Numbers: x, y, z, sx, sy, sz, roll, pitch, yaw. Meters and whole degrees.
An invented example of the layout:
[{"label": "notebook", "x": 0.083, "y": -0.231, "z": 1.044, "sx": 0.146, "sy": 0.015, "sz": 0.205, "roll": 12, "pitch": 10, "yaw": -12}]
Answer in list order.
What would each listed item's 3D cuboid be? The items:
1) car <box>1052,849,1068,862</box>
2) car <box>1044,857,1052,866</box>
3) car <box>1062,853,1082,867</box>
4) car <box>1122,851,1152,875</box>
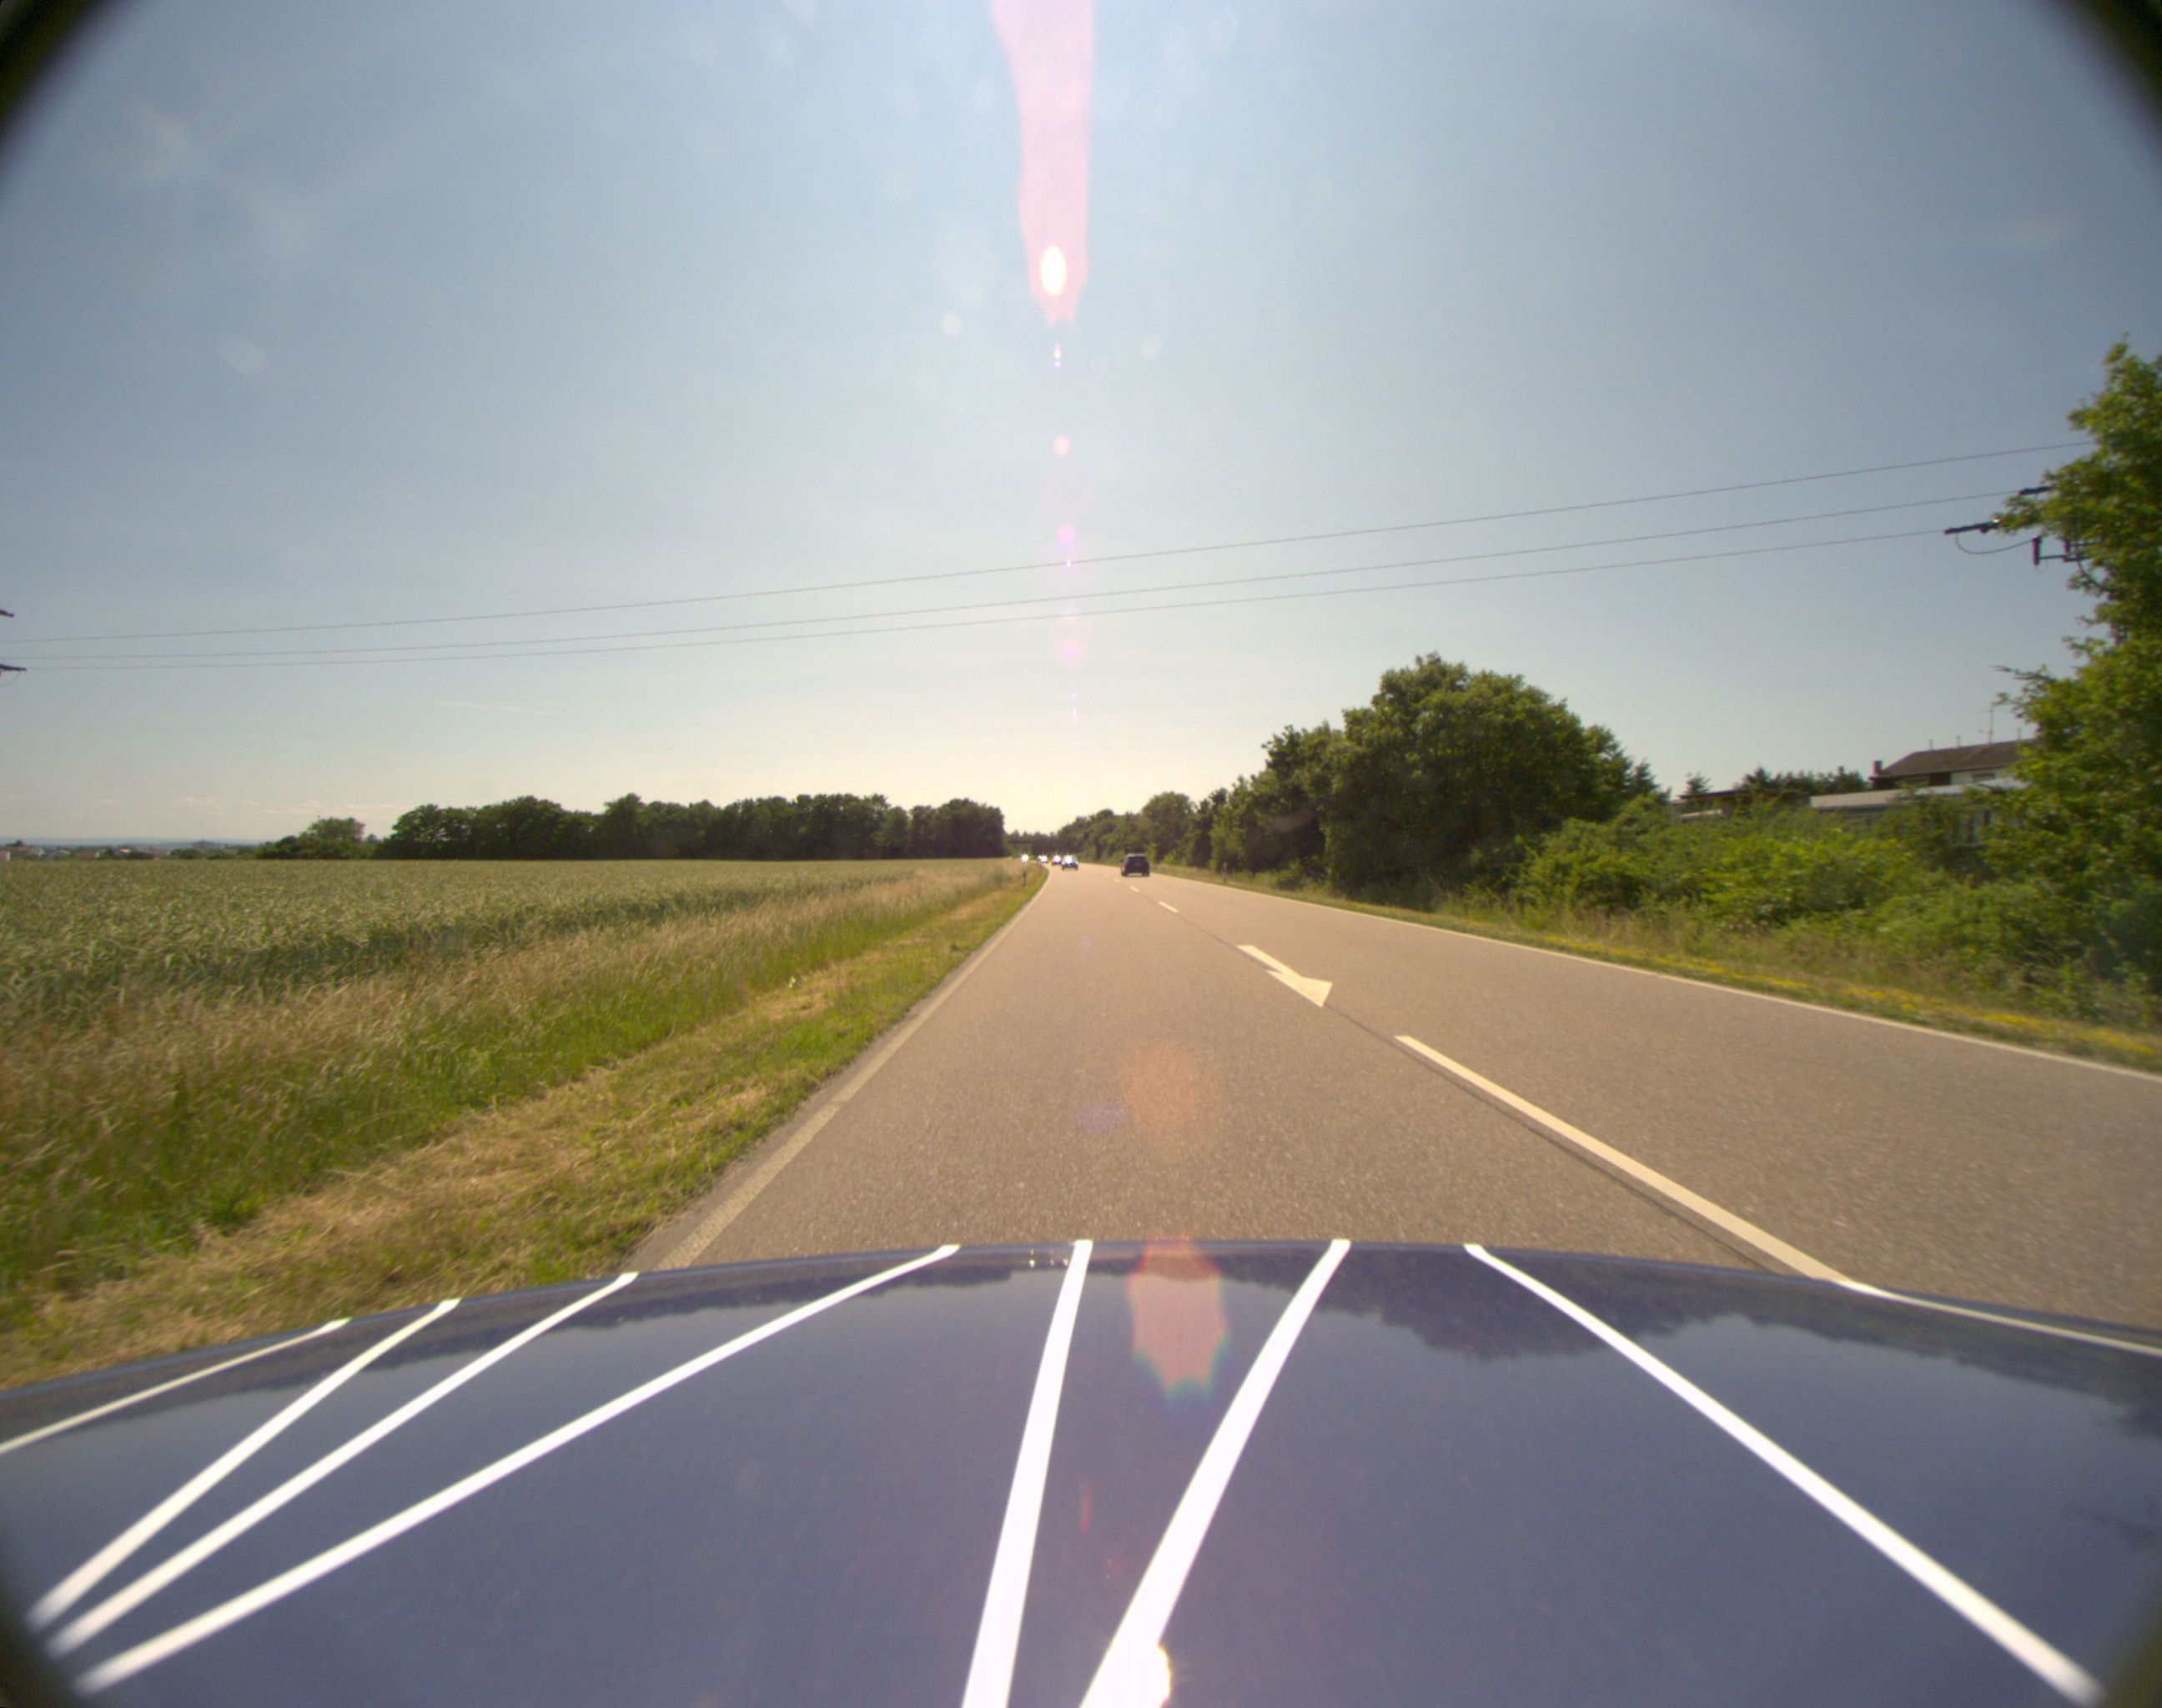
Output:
[{"label": "car", "x": -3.377, "y": 0.212, "z": 120.120, "sx": 2.000, "sy": 2.002, "sz": 3.997, "roll": -2, "pitch": 0, "yaw": -7}, {"label": "car", "x": -7.176, "y": 1.572, "z": 163.868, "sx": 1.554, "sy": 1.659, "sz": 3.998, "roll": -2, "pitch": 1, "yaw": -4}, {"label": "car", "x": -1.026, "y": 0.620, "z": 83.685, "sx": 1.694, "sy": 1.431, "sz": 3.707, "roll": -1, "pitch": 1, "yaw": -7}, {"label": "car", "x": 3.941, "y": 0.612, "z": 53.724, "sx": 1.703, "sy": 1.557, "sz": 3.670, "roll": -3, "pitch": 0, "yaw": -1}]
